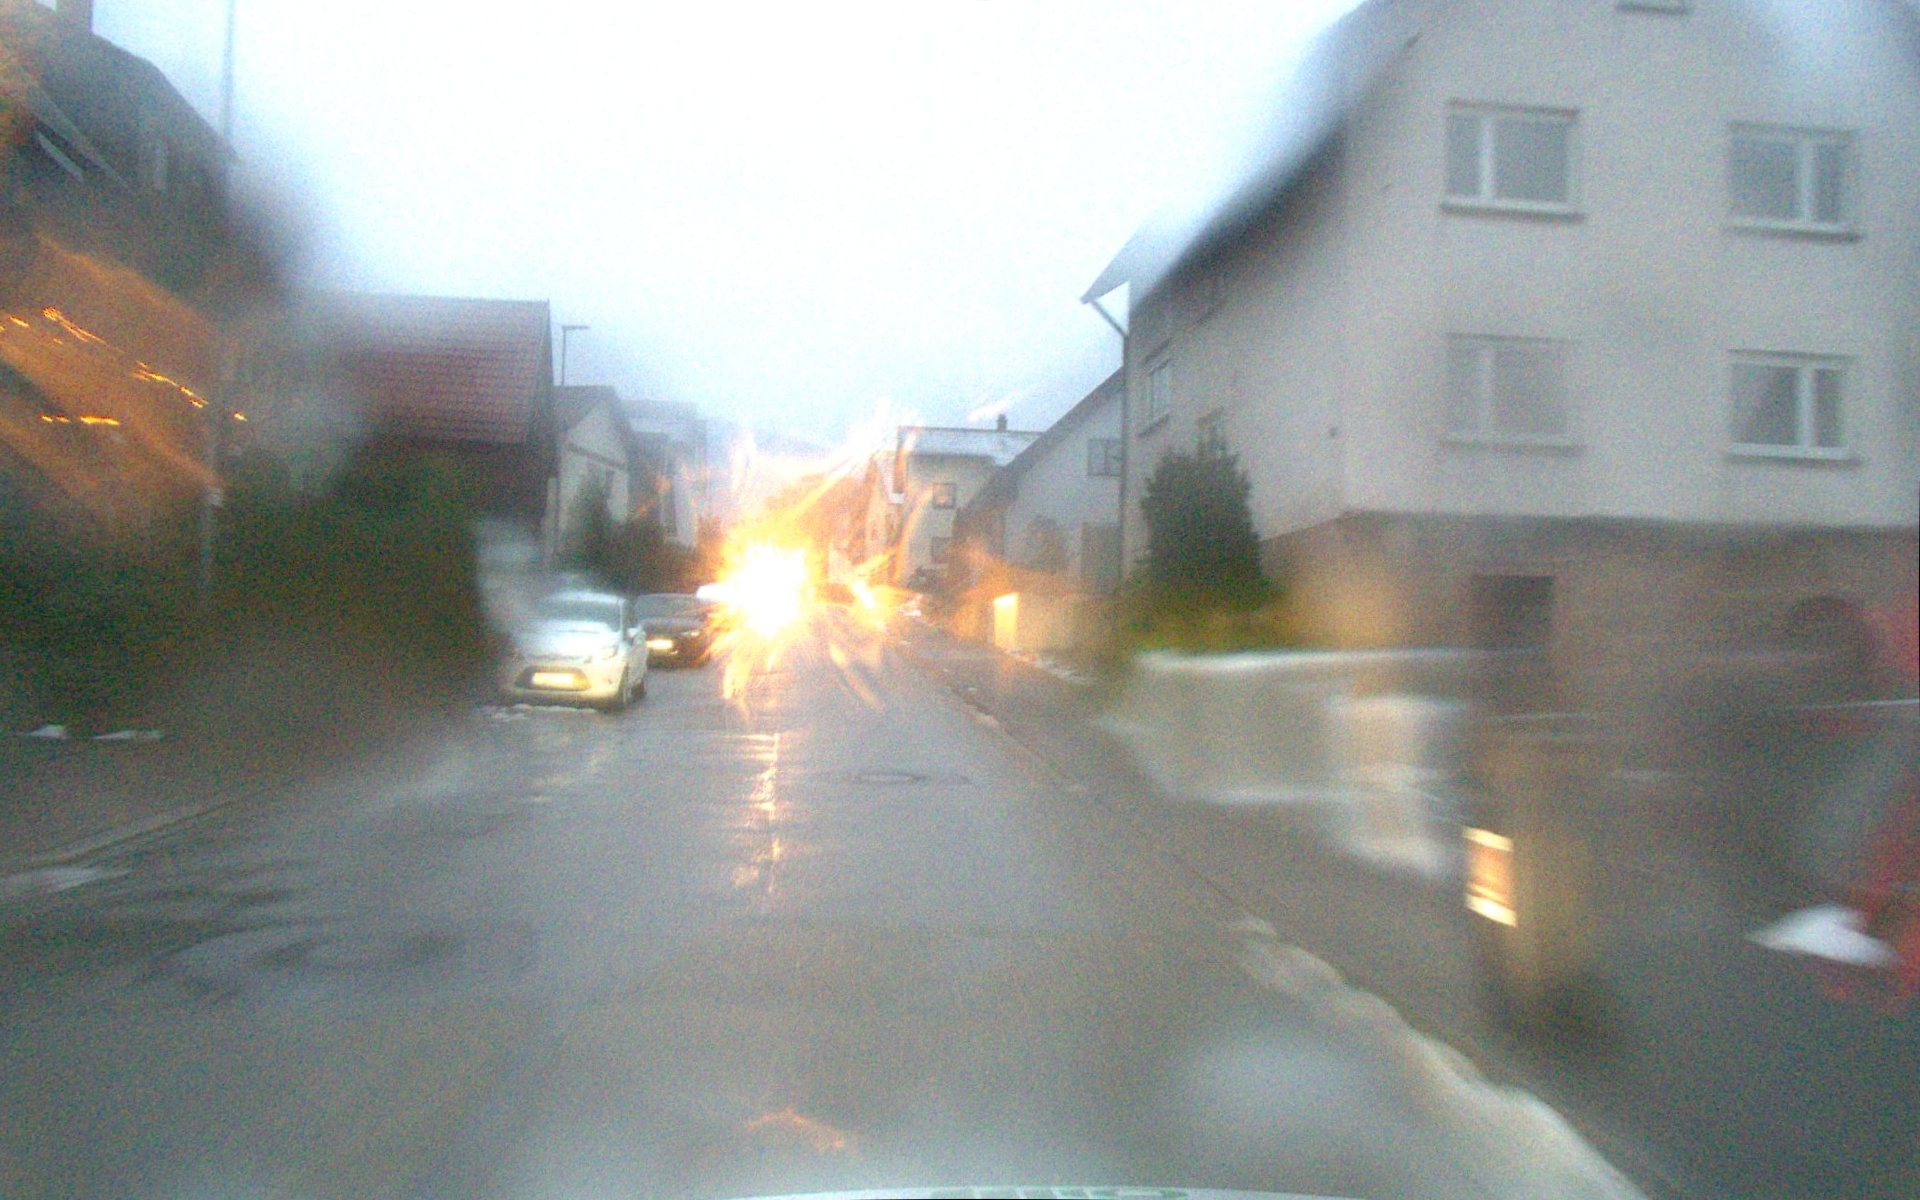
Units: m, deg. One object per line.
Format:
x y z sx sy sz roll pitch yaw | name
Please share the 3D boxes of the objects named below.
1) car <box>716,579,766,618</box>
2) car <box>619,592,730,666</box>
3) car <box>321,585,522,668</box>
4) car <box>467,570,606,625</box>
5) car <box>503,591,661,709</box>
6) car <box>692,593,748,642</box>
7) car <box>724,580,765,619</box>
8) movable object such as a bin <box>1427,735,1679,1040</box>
-9.172 -0.081 69.529 1.759 1.530 4.306 -1 1 -4 | car
-5.888 0.559 34.663 1.841 1.419 5.070 -1 0 -5 | car
-10.643 0.512 32.842 3.394 1.555 1.773 1 0 -2 | car
-13.412 -0.079 52.491 3.906 1.646 1.888 1 0 -1 | car
-5.061 0.625 22.536 1.587 1.463 3.653 -1 0 -5 | car
-8.289 0.582 57.357 1.651 1.612 4.171 -1 0 -5 | car
-10.795 -0.056 83.098 1.790 1.867 4.341 -1 1 -5 | car
2.036 0.968 5.750 0.624 0.933 0.685 1 0 0 | movable object such as a bin
